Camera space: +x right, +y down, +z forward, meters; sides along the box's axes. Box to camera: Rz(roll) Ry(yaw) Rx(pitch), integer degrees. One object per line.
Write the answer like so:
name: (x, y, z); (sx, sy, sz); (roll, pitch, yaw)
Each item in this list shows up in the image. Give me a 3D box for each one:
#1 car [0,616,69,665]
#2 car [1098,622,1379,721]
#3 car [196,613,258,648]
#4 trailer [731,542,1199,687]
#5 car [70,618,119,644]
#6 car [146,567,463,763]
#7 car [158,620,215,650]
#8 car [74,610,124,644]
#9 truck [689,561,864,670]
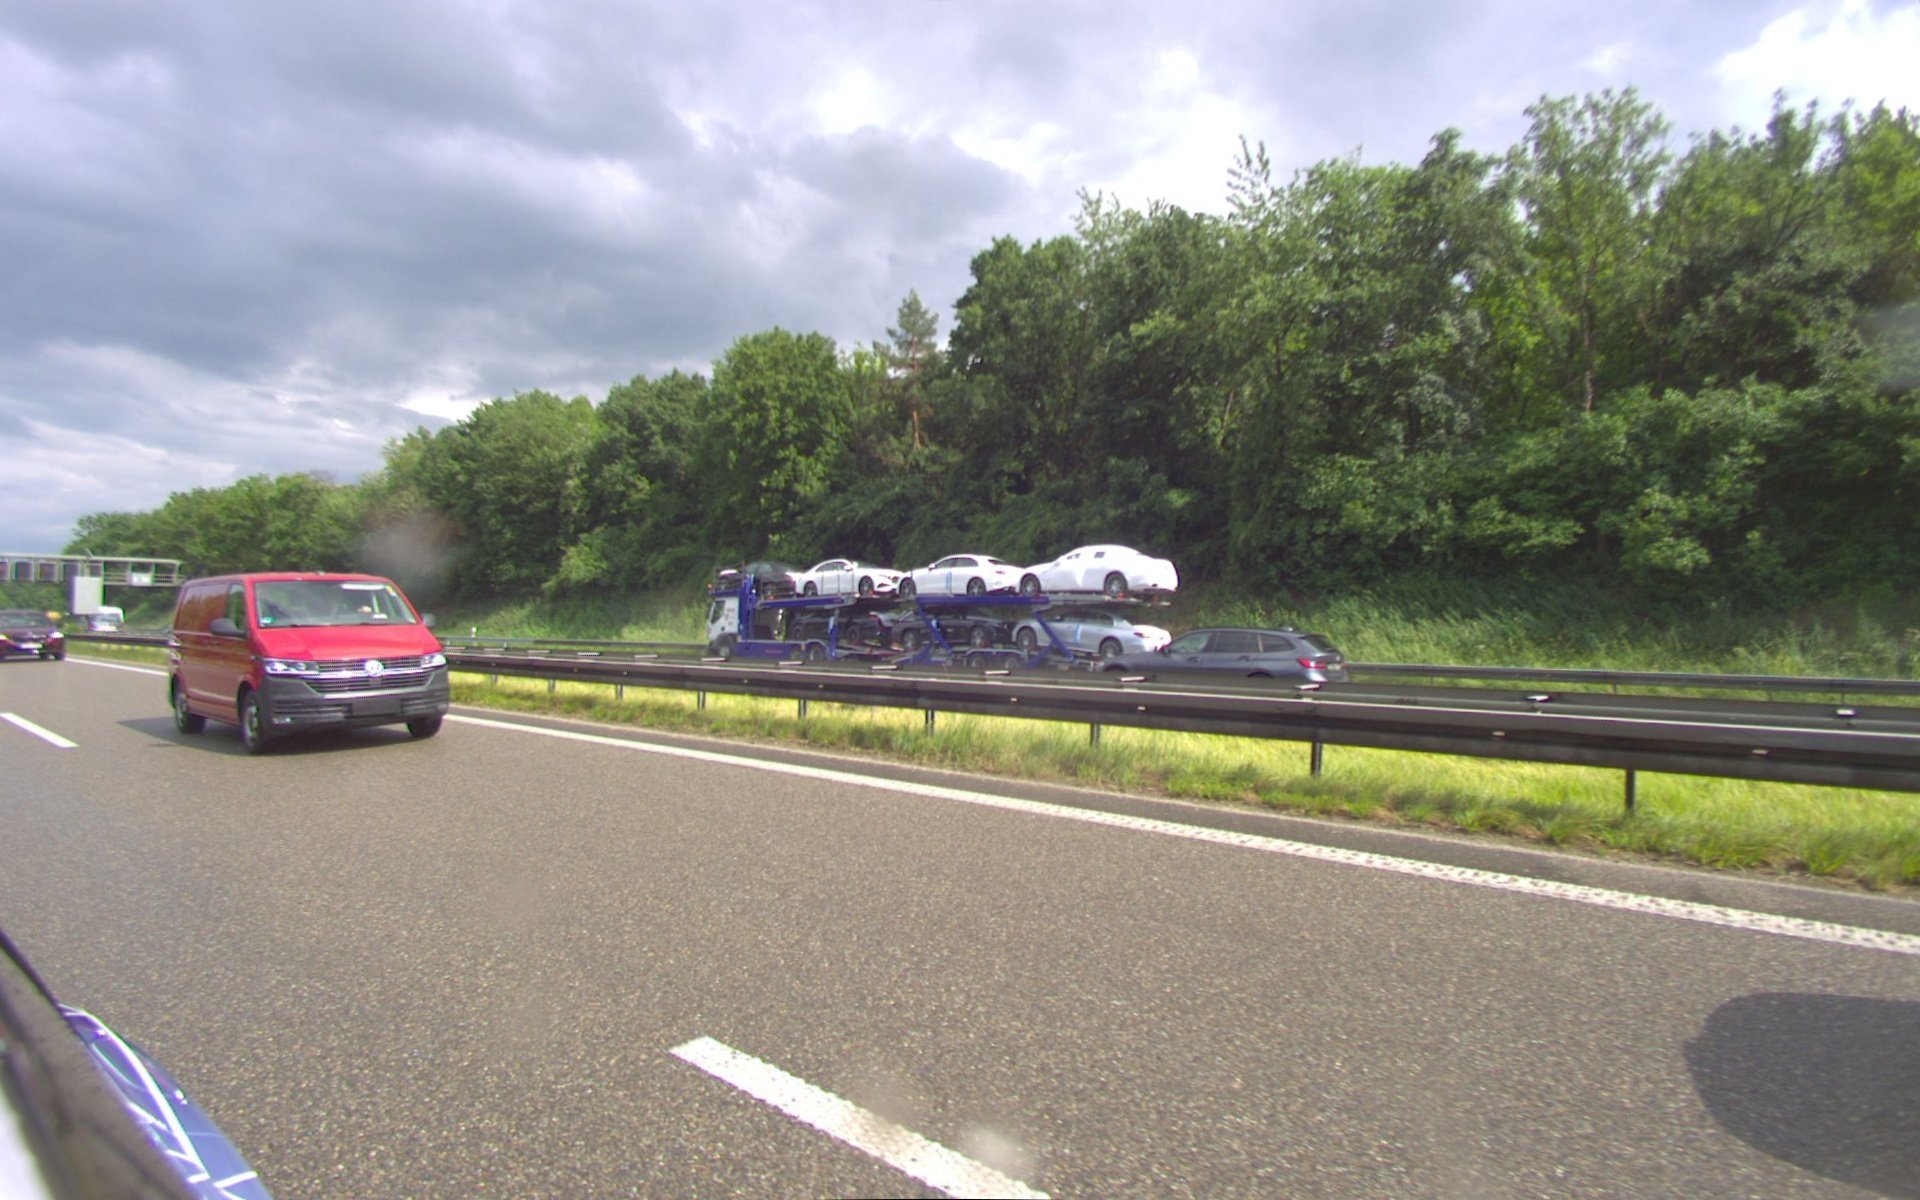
car: (-31.118, 1.293, 33.370); (4.836, 1.508, 1.983); (-1, 0, 41)
car: (4.895, 1.177, 18.179); (4.525, 1.510, 1.799); (-1, 0, 40)
car: (-43.657, 1.774, 60.231); (5.037, 1.961, 1.850); (-1, 0, 40)
trailer: (-0.917, 0.480, 33.896); (17.937, 3.860, 2.960); (-1, 0, 40)
car: (-59.997, 2.136, 70.118); (4.658, 1.675, 1.827); (-1, 0, 40)
car: (-7.921, 0.644, 12.016); (4.836, 1.880, 1.902); (-1, 0, 41)
car: (-40.008, 1.783, 52.326); (3.649, 1.475, 1.586); (-1, 0, 40)
car: (-76.848, 2.415, 90.296); (6.926, 2.892, 2.240); (-1, 0, 40)
truck: (-7.188, 0.574, 39.169); (6.858, 3.860, 2.960); (-1, 0, 40)
